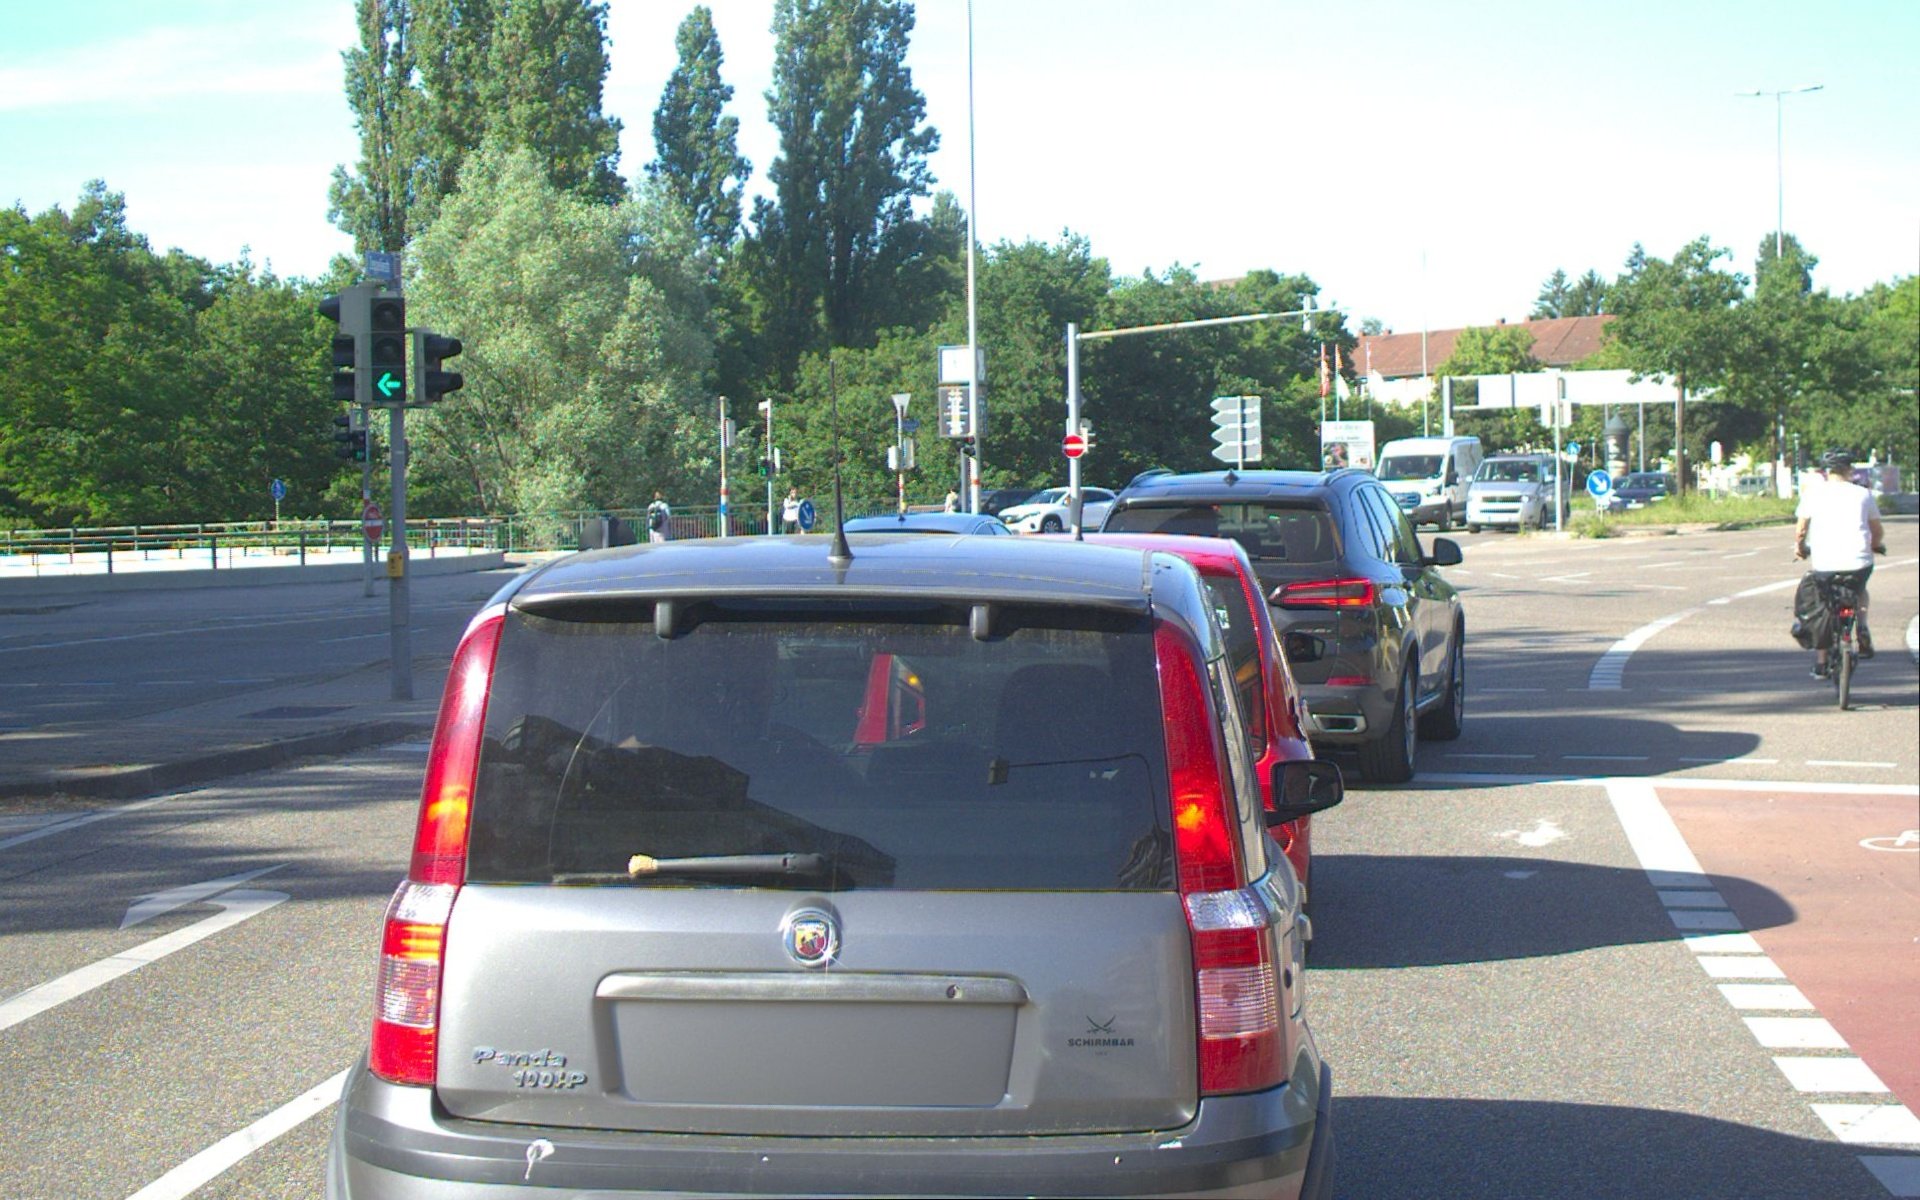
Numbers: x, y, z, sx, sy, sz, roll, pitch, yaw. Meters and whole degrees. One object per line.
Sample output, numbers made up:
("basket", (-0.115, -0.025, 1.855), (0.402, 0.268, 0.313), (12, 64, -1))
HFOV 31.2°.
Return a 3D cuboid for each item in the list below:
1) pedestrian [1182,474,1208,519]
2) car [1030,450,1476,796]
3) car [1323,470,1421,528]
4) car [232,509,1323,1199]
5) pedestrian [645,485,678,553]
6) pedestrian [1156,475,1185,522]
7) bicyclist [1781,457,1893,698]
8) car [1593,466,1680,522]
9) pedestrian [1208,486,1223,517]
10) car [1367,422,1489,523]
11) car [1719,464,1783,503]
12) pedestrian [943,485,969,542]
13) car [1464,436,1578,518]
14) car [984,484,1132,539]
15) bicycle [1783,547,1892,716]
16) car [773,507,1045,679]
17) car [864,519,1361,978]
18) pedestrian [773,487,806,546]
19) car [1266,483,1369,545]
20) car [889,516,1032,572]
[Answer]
("pedestrian", (8.642, -3.801, 126.350), (0.721, 1.635, 0.671), (1, 0, 25))
("car", (1.856, 0.052, 20.431), (1.946, 1.833, 4.150), (0, 2, 15))
("car", (11.806, -2.905, 98.308), (1.812, 1.536, 4.613), (-2, 2, 19))
("car", (-0.124, 0.596, 6.983), (1.618, 1.510, 3.819), (1, 2, 5))
("pedestrian", (-6.503, -1.759, 74.836), (0.679, 1.458, 0.703), (-1, 2, -6))
("pedestrian", (7.455, -3.602, 121.867), (0.628, 1.658, 0.791), (0, 1, -44))
("bicyclist", (6.174, -0.180, 24.252), (0.724, 1.654, 1.112), (1, 2, 13))
("car", (20.815, -3.273, 105.643), (1.938, 1.616, 4.502), (0, 2, 20))
("pedestrian", (9.364, -3.612, 126.064), (0.424, 1.132, 0.397), (1, 0, 25))
("car", (12.390, -3.378, 90.709), (1.938, 2.567, 6.083), (0, 2, 20))
("car", (39.506, -5.802, 171.627), (1.997, 1.809, 3.993), (1, 1, 30))
("pedestrian", (-0.110, -2.390, 95.207), (0.556, 1.542, 0.576), (-2, 1, -16))
("car", (14.188, -3.115, 86.725), (1.938, 2.001, 4.927), (0, 2, 20))
("car", (2.923, -2.640, 101.880), (4.317, 1.530, 1.784), (-3, 4, -41))
("bicycle", (6.184, 0.202, 24.297), (0.691, 1.098, 1.825), (1, 2, 13))
("car", (-0.385, -0.116, 31.306), (1.781, 1.410, 4.318), (0, 2, 9))
("car", (0.656, 0.451, 13.207), (1.618, 1.458, 3.750), (-1, 2, 5))
("pedestrian", (-4.634, -2.268, 93.391), (0.709, 1.542, 0.729), (-2, 0, -16))
("car", (9.565, -2.315, 91.712), (1.938, 1.502, 3.997), (-2, 2, 17))
("car", (0.026, -1.680, 104.024), (3.988, 1.619, 1.900), (0, 1, -38))
